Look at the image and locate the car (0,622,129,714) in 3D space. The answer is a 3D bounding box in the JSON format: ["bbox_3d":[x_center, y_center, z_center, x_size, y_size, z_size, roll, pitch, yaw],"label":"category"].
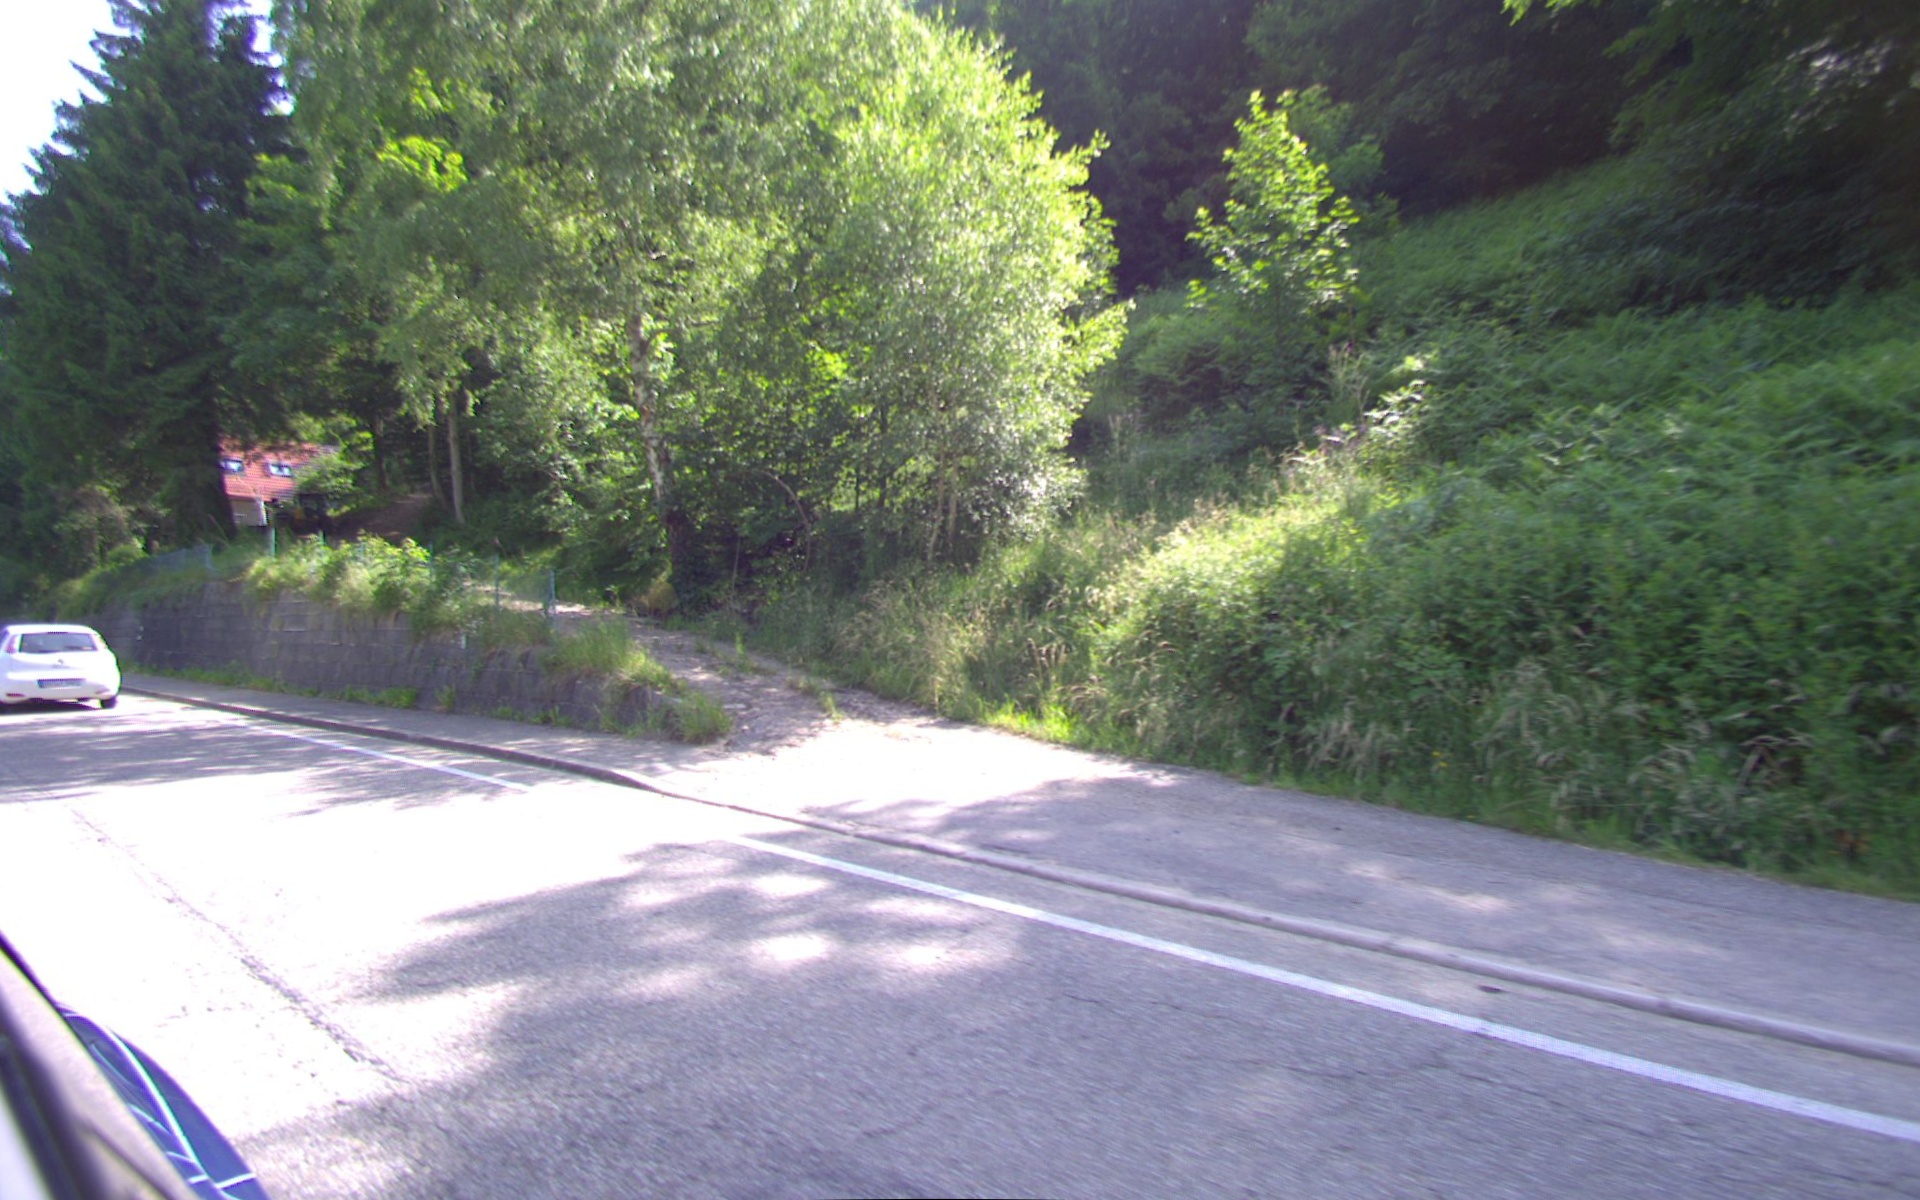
[{"bbox_3d":[-16.386,1.133,18.063,3.998,1.448,1.759,0,-2,41],"label":"car"}]

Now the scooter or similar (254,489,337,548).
[{"bbox_3d":[-27.049,-3.281,41.139,1.955,2.042,4.409,-4,2,-43],"label":"scooter or similar"}]
